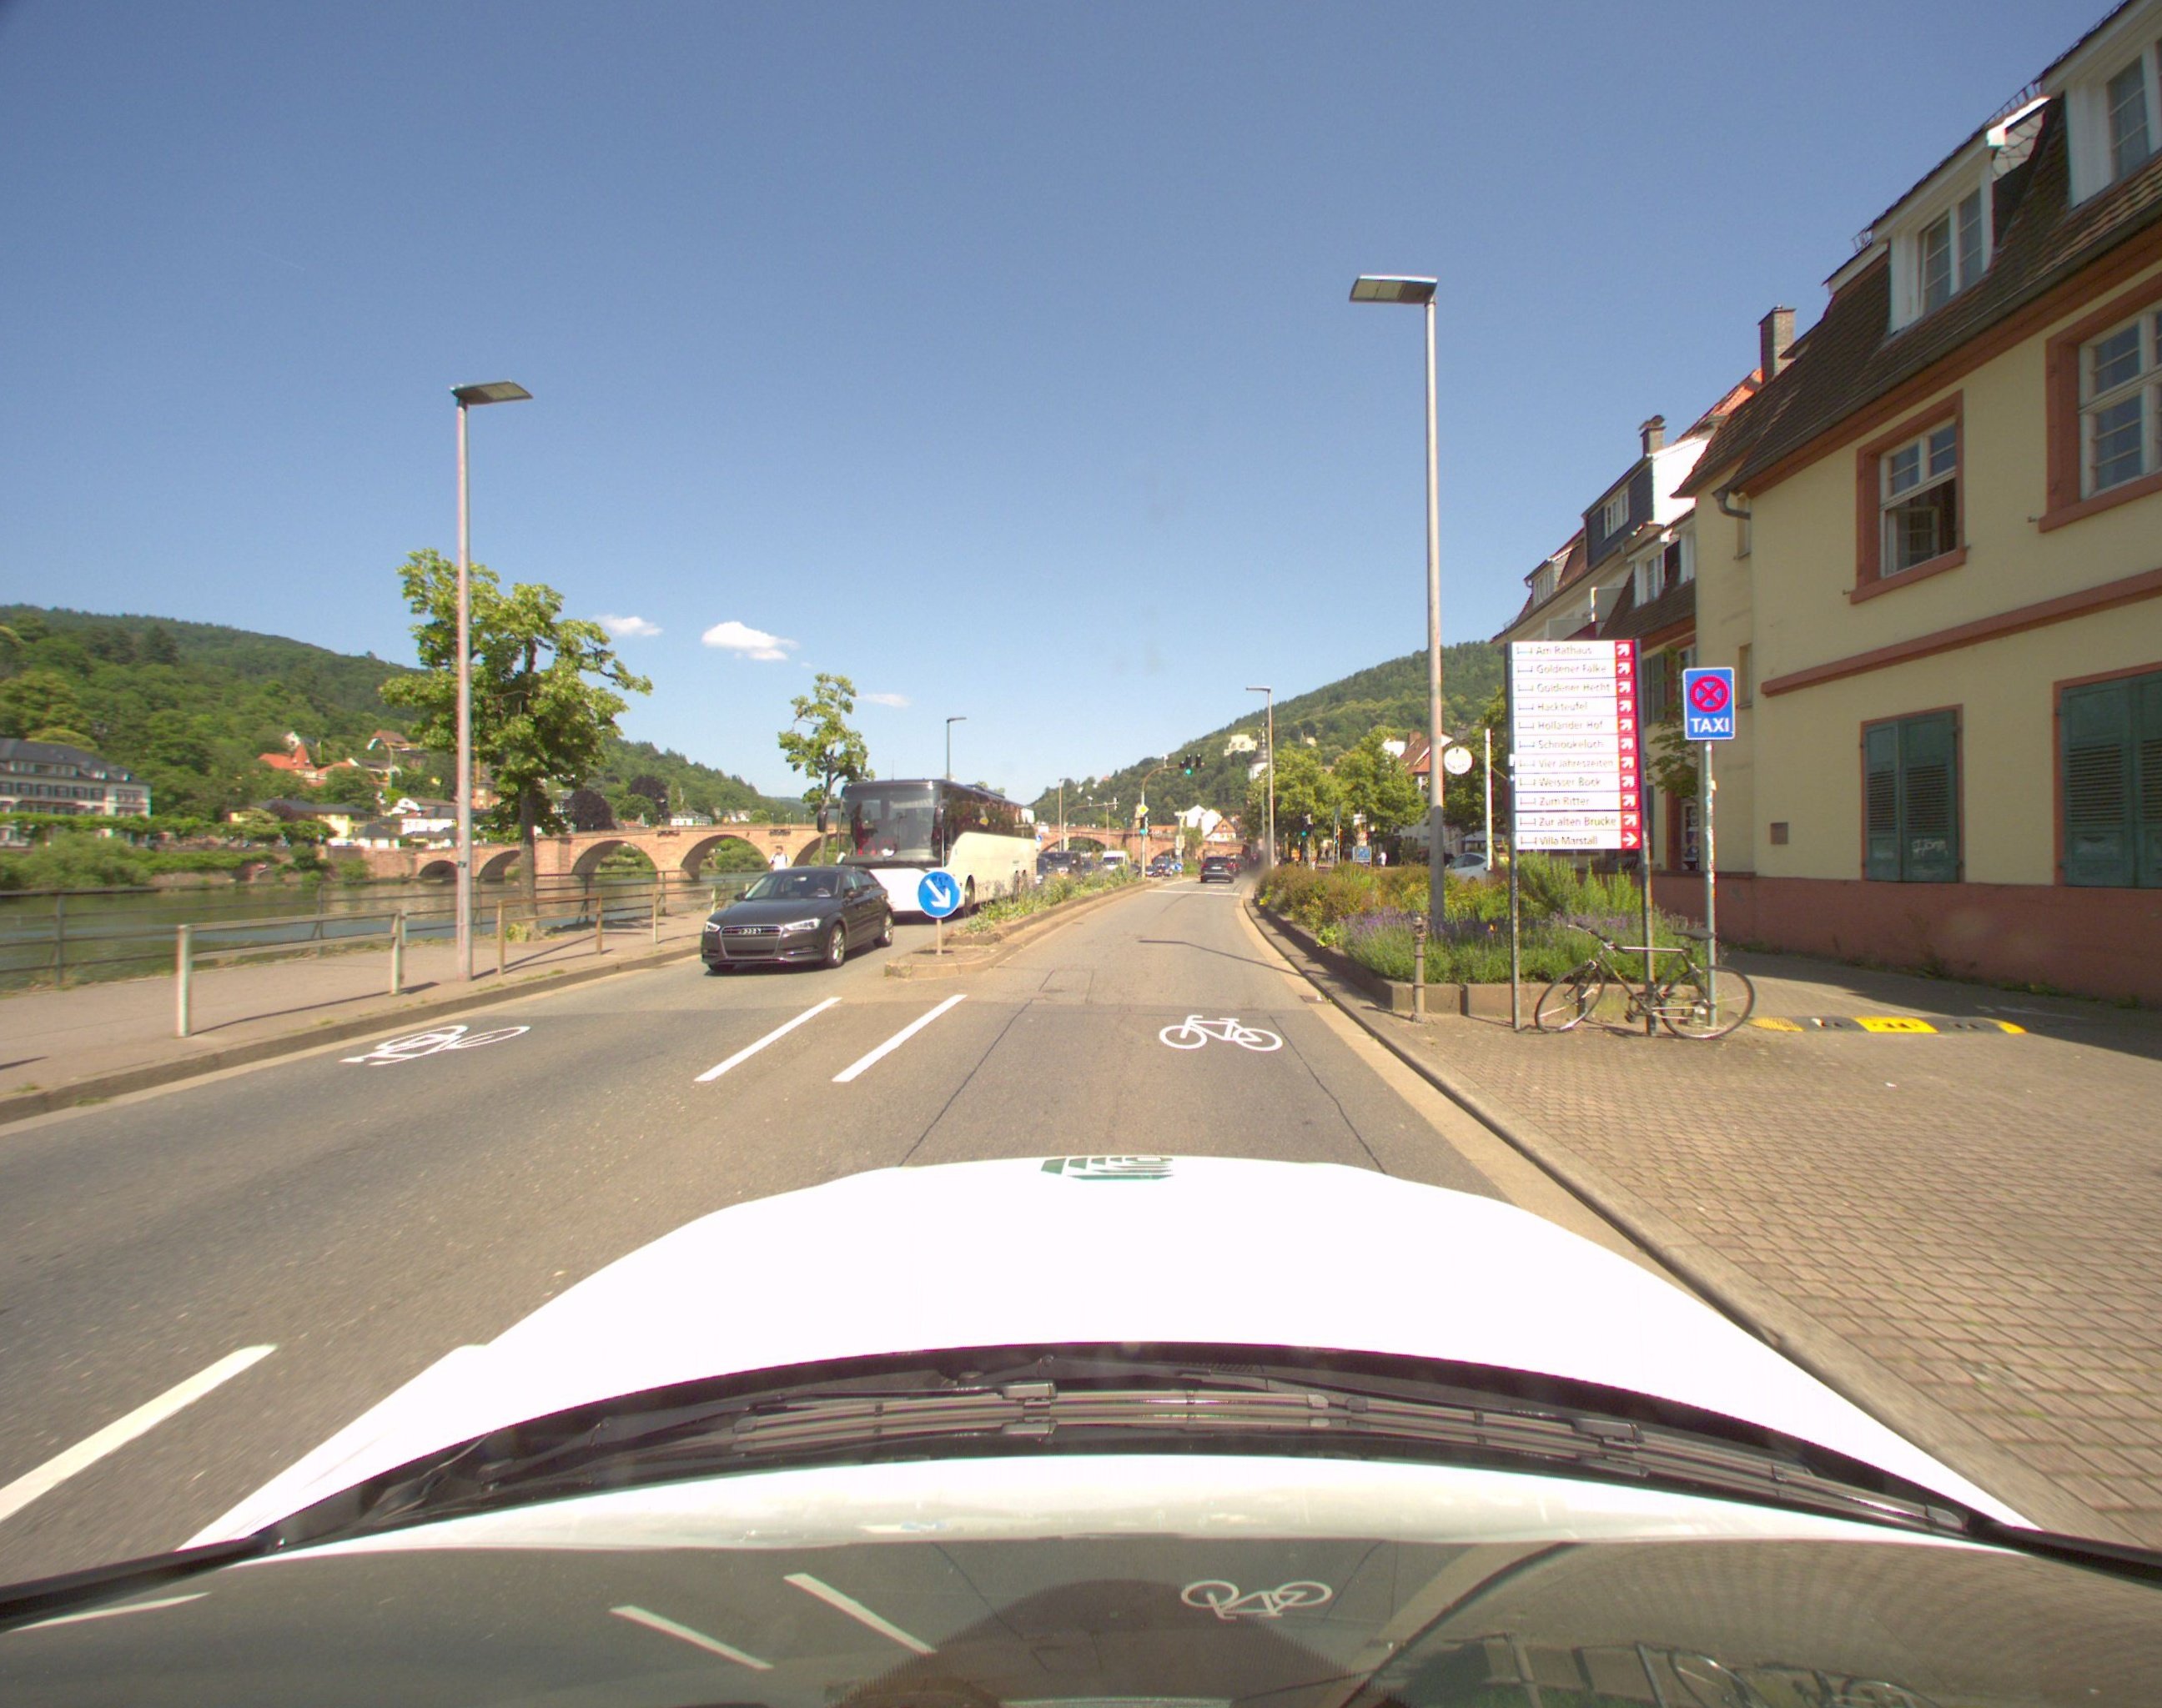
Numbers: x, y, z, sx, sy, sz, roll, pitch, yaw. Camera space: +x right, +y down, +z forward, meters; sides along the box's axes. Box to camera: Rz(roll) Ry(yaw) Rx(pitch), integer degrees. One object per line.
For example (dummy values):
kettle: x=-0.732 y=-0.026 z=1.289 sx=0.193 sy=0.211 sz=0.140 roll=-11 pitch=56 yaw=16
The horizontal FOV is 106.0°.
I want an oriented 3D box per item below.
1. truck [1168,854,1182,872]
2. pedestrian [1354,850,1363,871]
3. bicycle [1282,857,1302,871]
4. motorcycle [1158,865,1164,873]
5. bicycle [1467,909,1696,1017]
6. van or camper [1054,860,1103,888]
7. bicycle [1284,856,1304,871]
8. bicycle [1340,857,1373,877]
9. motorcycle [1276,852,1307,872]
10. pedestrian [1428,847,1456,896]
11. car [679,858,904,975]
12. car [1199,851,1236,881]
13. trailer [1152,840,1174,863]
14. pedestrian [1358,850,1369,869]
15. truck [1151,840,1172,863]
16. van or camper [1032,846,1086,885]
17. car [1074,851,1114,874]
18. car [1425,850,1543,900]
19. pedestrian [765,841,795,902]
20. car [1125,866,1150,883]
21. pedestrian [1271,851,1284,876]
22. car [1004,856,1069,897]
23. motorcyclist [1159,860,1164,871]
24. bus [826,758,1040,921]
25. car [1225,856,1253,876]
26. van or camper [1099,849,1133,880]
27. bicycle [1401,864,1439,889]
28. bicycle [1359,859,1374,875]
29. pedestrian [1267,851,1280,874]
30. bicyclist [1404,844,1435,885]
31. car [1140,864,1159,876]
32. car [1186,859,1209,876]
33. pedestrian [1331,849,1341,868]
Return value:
truck: x=18.902 y=1.793 z=164.194 sx=2.643 sy=3.403 sz=5.146 roll=-1 pitch=-1 yaw=8
pedestrian: x=20.891 y=0.499 z=61.246 sx=0.457 sy=1.517 sz=0.691 roll=1 pitch=0 yaw=3
bicycle: x=17.390 y=0.831 z=67.106 sx=1.477 sy=1.047 sz=0.251 roll=-2 pitch=-1 yaw=4
motorcycle: x=10.989 y=2.051 z=111.280 sx=0.753 sy=1.131 sz=2.460 roll=-1 pitch=0 yaw=7
bicycle: x=4.566 y=0.986 z=7.481 sx=1.805 sy=0.878 sz=0.502 roll=1 pitch=0 yaw=-2
van or camper: x=-0.091 y=1.145 z=48.096 sx=1.981 sy=1.477 sz=5.079 roll=-2 pitch=-1 yaw=10
bicycle: x=16.897 y=0.760 z=64.496 sx=1.477 sy=1.120 sz=0.378 roll=-2 pitch=-1 yaw=4
bicycle: x=17.744 y=0.858 z=52.508 sx=1.981 sy=1.198 sz=0.524 roll=2 pitch=1 yaw=22
motorcycle: x=16.210 y=0.617 z=62.858 sx=0.768 sy=1.465 sz=2.272 roll=0 pitch=-2 yaw=-39
pedestrian: x=14.097 y=0.683 z=31.803 sx=0.758 sy=1.858 sz=0.610 roll=-2 pitch=-1 yaw=2
car: x=-4.152 y=0.812 z=12.496 sx=1.810 sy=1.429 sz=4.194 roll=-1 pitch=0 yaw=2
car: x=7.698 y=0.640 z=45.896 sx=1.915 sy=1.553 sz=4.845 roll=2 pitch=0 yaw=10
trailer: x=12.884 y=-0.359 z=127.103 sx=2.641 sy=3.403 sz=8.852 roll=-1 pitch=0 yaw=10
pedestrian: x=21.123 y=0.414 z=60.901 sx=0.623 sy=1.382 sz=0.542 roll=2 pitch=0 yaw=2
truck: x=12.240 y=-0.415 z=123.616 sx=2.641 sy=3.403 sz=4.462 roll=-1 pitch=-1 yaw=10
van or camper: x=-1.058 y=0.597 z=42.536 sx=1.983 sy=1.873 sz=5.190 roll=-1 pitch=-1 yaw=7
car: x=0.922 y=0.579 z=55.062 sx=1.940 sy=1.409 sz=4.582 roll=-3 pitch=-1 yaw=10
car: x=13.674 y=0.676 z=27.995 sx=1.870 sy=1.577 sz=4.729 roll=0 pitch=0 yaw=2
pedestrian: x=-8.915 y=0.517 z=24.126 sx=0.618 sy=1.780 sz=0.662 roll=0 pitch=0 yaw=2
car: x=5.450 y=1.914 z=77.647 sx=1.807 sy=1.456 sz=4.942 roll=-3 pitch=-1 yaw=10
pedestrian: x=14.214 y=0.695 z=58.912 sx=0.691 sy=1.771 sz=0.764 roll=-2 pitch=-1 yaw=2
car: x=-1.903 y=0.947 z=36.486 sx=1.983 sy=1.598 sz=5.166 roll=-3 pitch=-1 yaw=6
motorcyclist: x=10.998 y=1.541 z=111.374 sx=0.732 sy=1.470 sz=1.013 roll=-1 pitch=-1 yaw=7
bus: x=-3.607 y=-0.198 z=24.390 sx=2.617 sy=3.564 sz=13.006 roll=-1 pitch=-1 yaw=7
car: x=12.015 y=0.897 z=61.859 sx=1.913 sy=1.461 sz=4.849 roll=0 pitch=0 yaw=13
van or camper: x=3.032 y=0.909 z=69.337 sx=1.981 sy=2.450 sz=5.511 roll=-2 pitch=-2 yaw=11
bicycle: x=13.508 y=0.894 z=32.456 sx=0.747 sy=0.964 sz=1.781 roll=0 pitch=-1 yaw=-1
bicycle: x=18.920 y=0.871 z=53.944 sx=0.588 sy=1.067 sz=2.078 roll=-1 pitch=-2 yaw=29
pedestrian: x=14.089 y=0.617 z=59.610 sx=0.691 sy=1.677 sz=0.764 roll=-2 pitch=-1 yaw=2
bicyclist: x=13.506 y=0.420 z=32.512 sx=0.764 sy=1.583 sz=1.089 roll=0 pitch=-1 yaw=-1
car: x=8.460 y=1.983 z=100.031 sx=1.940 sy=1.413 sz=4.230 roll=-3 pitch=-2 yaw=10
car: x=11.242 y=1.238 z=78.657 sx=1.981 sy=1.553 sz=4.846 roll=-1 pitch=0 yaw=10
pedestrian: x=21.923 y=0.380 z=70.107 sx=0.703 sy=1.653 sz=0.709 roll=-1 pitch=-1 yaw=11
